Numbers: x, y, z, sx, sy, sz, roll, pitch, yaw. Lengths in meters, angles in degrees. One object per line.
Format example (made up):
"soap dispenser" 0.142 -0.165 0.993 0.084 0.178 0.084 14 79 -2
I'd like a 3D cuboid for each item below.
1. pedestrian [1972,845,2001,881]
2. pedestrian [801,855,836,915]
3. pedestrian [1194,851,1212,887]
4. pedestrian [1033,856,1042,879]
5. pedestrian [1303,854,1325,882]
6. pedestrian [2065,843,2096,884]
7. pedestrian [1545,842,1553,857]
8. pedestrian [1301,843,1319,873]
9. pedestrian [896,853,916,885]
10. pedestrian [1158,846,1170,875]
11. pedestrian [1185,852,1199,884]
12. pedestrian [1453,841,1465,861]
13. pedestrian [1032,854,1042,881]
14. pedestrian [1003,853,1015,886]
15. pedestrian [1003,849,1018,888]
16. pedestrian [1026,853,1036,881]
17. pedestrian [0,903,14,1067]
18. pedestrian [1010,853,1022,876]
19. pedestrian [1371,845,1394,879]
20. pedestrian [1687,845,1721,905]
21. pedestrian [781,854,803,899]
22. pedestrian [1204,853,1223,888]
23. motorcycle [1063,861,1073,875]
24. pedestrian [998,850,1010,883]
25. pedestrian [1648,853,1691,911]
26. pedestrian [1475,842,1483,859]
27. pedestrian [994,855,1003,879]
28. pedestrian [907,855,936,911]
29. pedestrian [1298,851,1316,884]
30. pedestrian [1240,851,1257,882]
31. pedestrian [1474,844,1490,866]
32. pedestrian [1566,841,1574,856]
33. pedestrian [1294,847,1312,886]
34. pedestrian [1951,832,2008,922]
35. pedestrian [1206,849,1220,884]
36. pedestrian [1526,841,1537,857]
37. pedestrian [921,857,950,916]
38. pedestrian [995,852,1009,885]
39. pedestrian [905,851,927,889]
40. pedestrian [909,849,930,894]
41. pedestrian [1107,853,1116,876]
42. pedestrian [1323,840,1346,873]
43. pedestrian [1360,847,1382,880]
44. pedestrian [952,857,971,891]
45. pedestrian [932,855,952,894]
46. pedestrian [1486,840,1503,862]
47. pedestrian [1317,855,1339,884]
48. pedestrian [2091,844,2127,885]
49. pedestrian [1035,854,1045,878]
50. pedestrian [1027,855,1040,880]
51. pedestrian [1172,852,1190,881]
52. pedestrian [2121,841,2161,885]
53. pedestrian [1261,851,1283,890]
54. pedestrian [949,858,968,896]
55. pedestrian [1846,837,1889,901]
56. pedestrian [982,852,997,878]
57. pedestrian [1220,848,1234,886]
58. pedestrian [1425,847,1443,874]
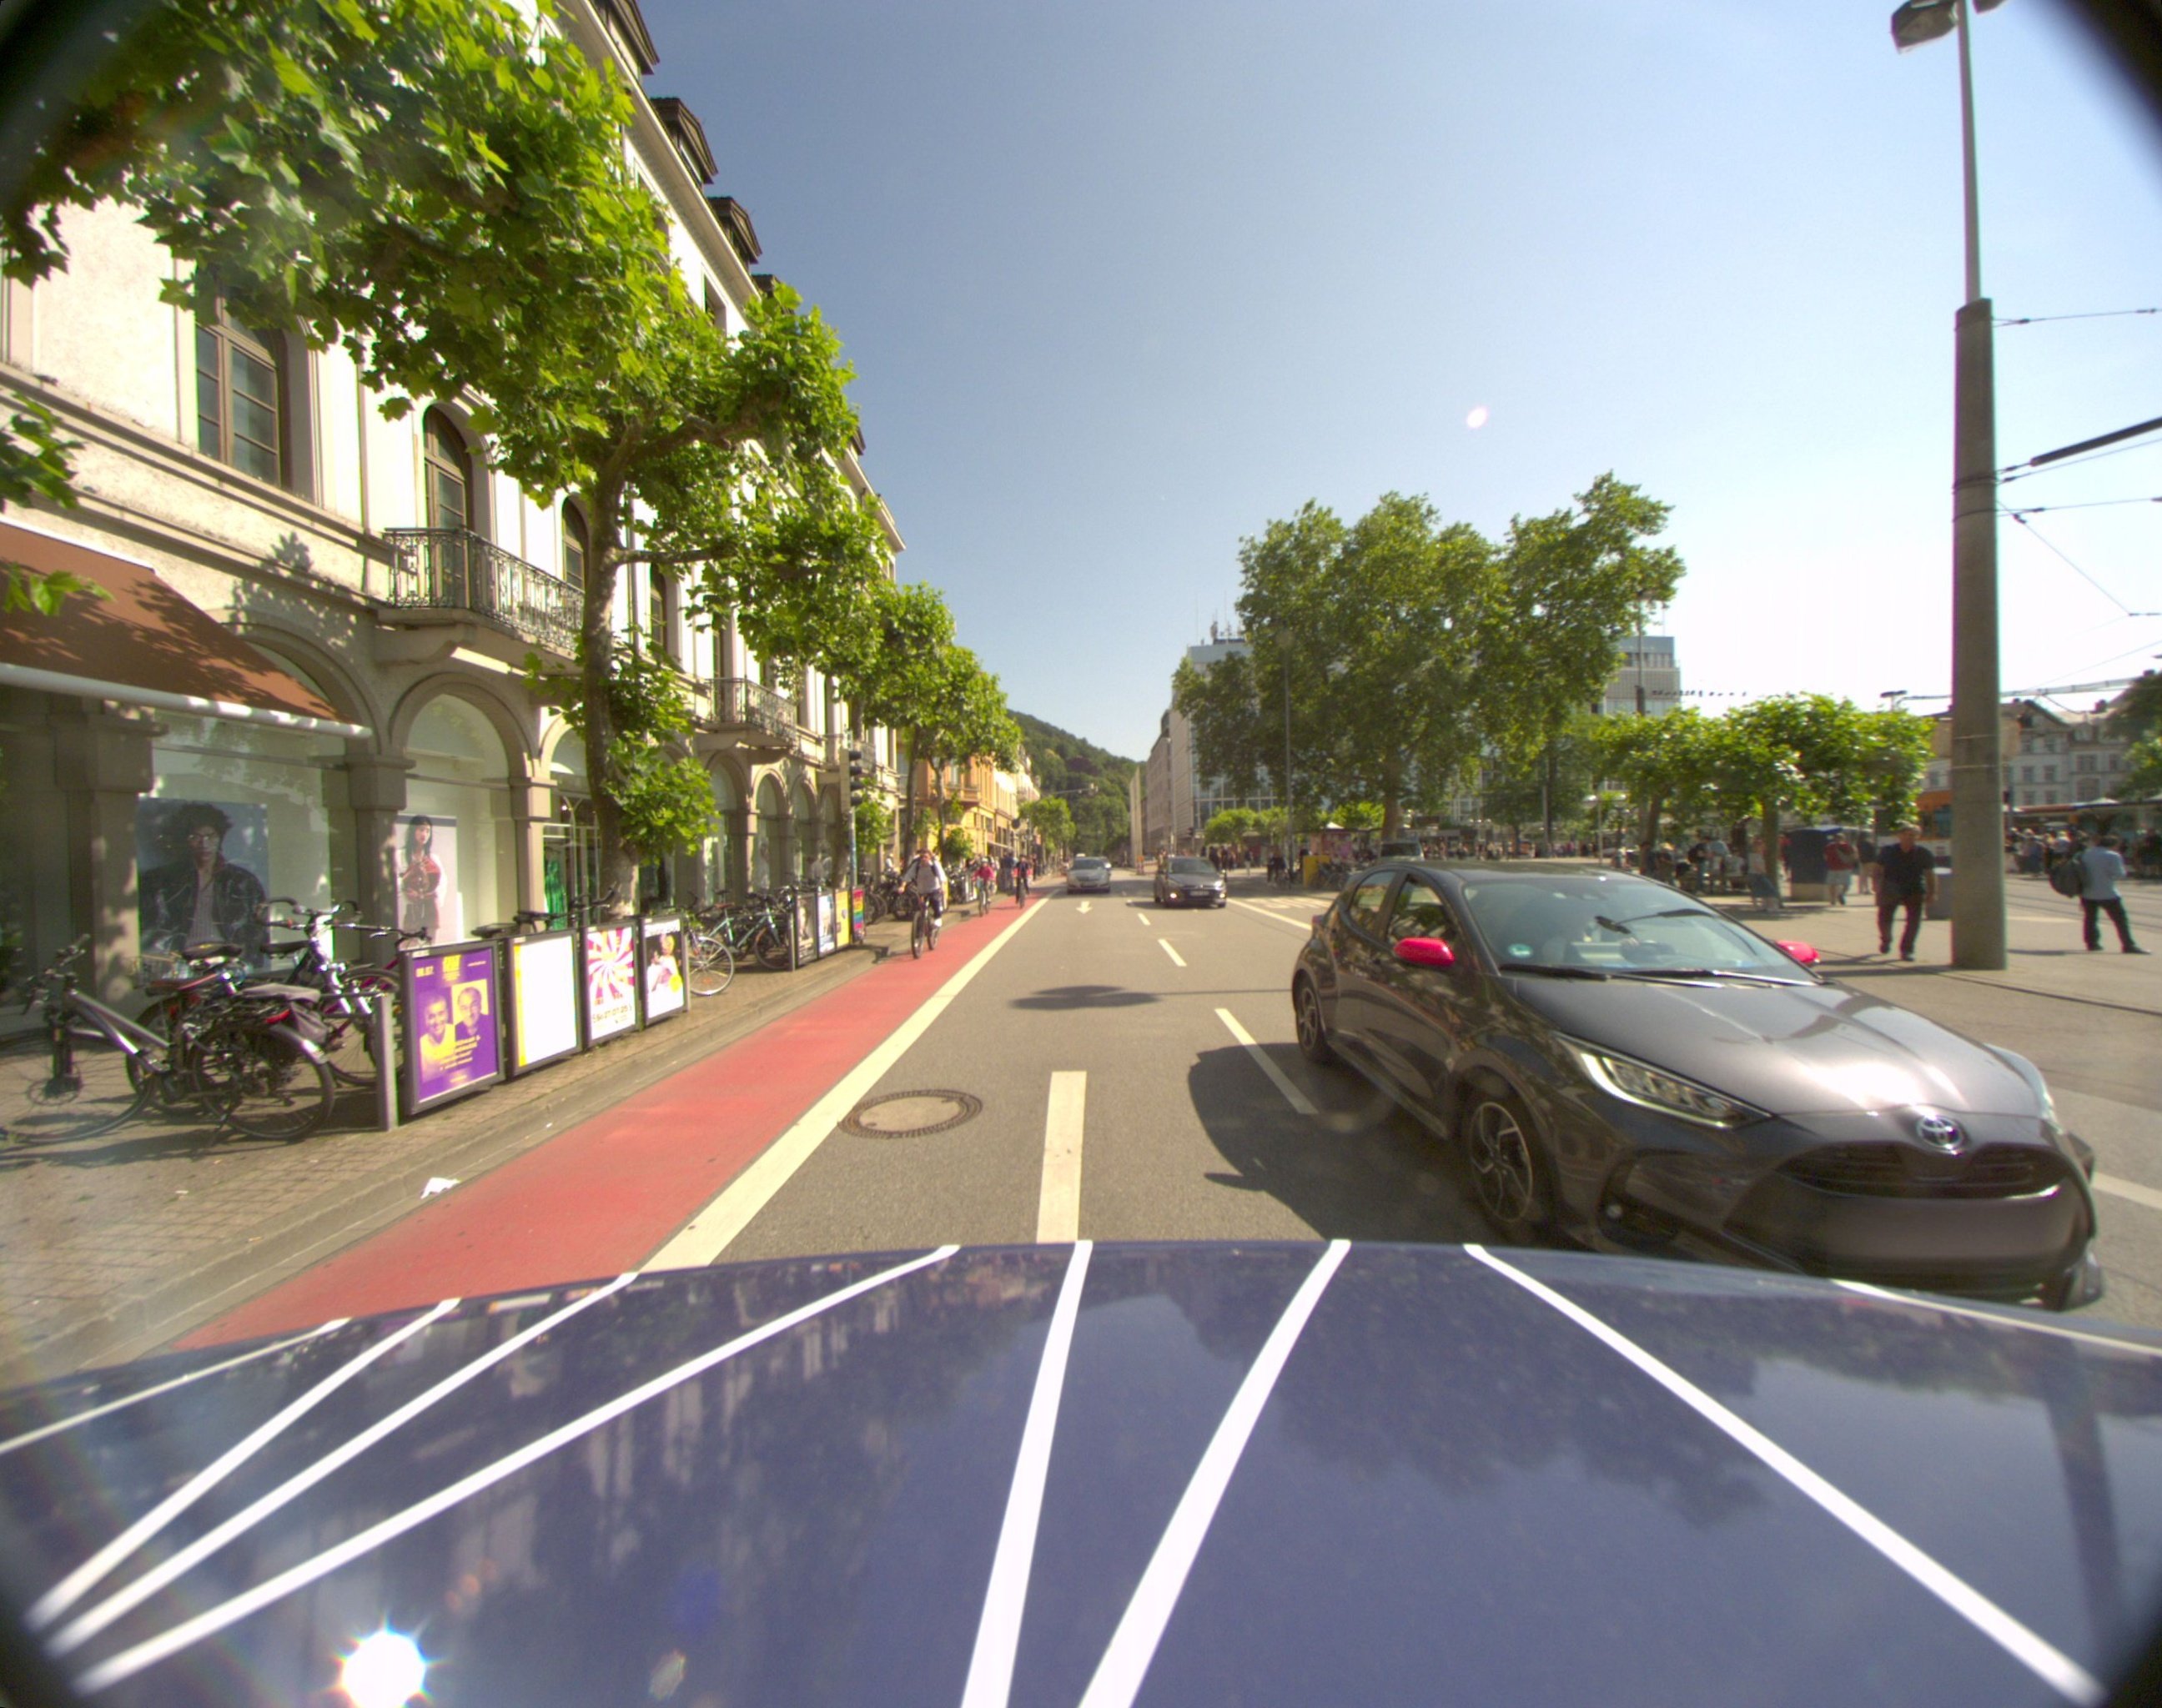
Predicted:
"pedestrian" 39.703 0.397 33.310 0.577 1.540 0.682 1 0 27
"pedestrian" -7.594 0.884 21.995 0.658 1.686 0.676 -3 1 2
"pedestrian" 6.199 0.777 38.604 0.537 1.773 0.745 -2 1 35
"pedestrian" -3.122 0.965 54.573 0.531 1.586 0.588 1 1 -11
"pedestrian" 12.060 0.719 39.364 0.752 1.399 0.782 -3 1 -10
"pedestrian" 38.771 0.364 29.470 0.681 1.540 0.577 2 0 -26
"pedestrian" 46.865 -0.452 76.110 0.554 1.464 0.759 -2 1 37
"pedestrian" 13.780 0.260 45.680 0.751 1.737 0.782 -3 1 -1
"pedestrian" -9.229 0.804 40.130 0.798 1.638 0.622 -3 1 1
"pedestrian" 5.717 0.447 52.195 0.639 1.903 0.733 -3 1 -1
"pedestrian" 6.129 0.765 42.131 0.612 1.737 0.752 -2 1 -1
"pedestrian" 32.824 -0.273 66.013 0.750 1.737 0.784 -2 1 39
"pedestrian" -3.021 0.909 51.975 0.578 1.863 0.680 1 0 -11
"pedestrian" -3.732 0.793 39.508 0.569 1.675 0.591 0 0 -3
"pedestrian" -3.388 0.715 36.699 0.578 1.835 0.717 -3 1 -2
"pedestrian" -3.100 0.820 46.986 0.578 1.719 0.718 1 -2 -7
"pedestrian" -9.050 1.063 5.837 0.653 1.298 0.868 -2 1 43
"pedestrian" -5.200 0.837 60.857 0.860 1.782 0.757 -1 0 -11
"pedestrian" 15.887 0.436 40.086 0.752 1.737 0.782 -3 1 -10
"pedestrian" 18.868 0.617 23.000 0.626 1.783 0.678 2 0 -41
"pedestrian" -10.087 0.772 26.544 0.504 1.524 0.538 -3 1 -6
"pedestrian" 6.399 0.801 36.639 0.630 1.639 0.753 -3 1 27
"motorcycle" -1.112 1.179 63.762 0.736 1.086 1.898 -3 0 1
"pedestrian" -4.100 0.656 40.342 0.578 1.774 0.699 0 0 -2
"pedestrian" 16.034 0.755 20.708 0.624 1.515 0.680 1 0 1
"pedestrian" 34.506 -0.282 65.852 0.464 1.464 0.410 -3 1 -2
"pedestrian" -5.752 0.903 52.954 0.578 1.650 0.621 -1 0 -11
"pedestrian" -4.521 0.813 21.566 0.606 1.529 0.667 -3 1 -1
"pedestrian" 12.308 0.755 41.366 0.750 1.737 0.784 -3 1 27
"pedestrian" 9.536 0.714 43.263 0.751 1.737 0.667 -3 1 -1
"pedestrian" 32.742 0.084 62.041 0.752 1.737 0.782 -3 1 -10
"pedestrian" 49.678 -0.563 77.237 0.554 1.464 0.759 -2 1 37
"pedestrian" 10.180 0.572 34.826 0.516 1.732 0.518 -3 1 -13
"pedestrian" 20.512 0.512 17.352 0.693 1.996 0.564 -1 1 -9
"pedestrian" 6.880 0.658 39.695 0.595 1.835 0.738 0 1 -1
"pedestrian" 43.008 -0.456 72.582 0.555 1.464 0.758 -3 1 0
"pedestrian" -4.811 1.069 25.154 0.702 1.891 0.776 -3 1 -1
"pedestrian" -4.028 0.743 38.893 0.578 1.675 0.622 -3 1 -2
"pedestrian" -7.798 0.735 35.886 0.621 1.747 1.186 -3 0 3
"pedestrian" -6.601 0.709 31.082 0.635 1.782 0.776 -3 1 -1
"pedestrian" 2.390 0.828 59.678 0.699 1.774 0.578 0 0 -5
"pedestrian" 12.589 0.122 37.753 0.752 1.587 0.782 -3 1 -10
"pedestrian" 15.641 0.491 41.030 0.752 1.737 0.782 -3 1 -10
"pedestrian" -5.681 0.946 36.106 0.517 1.574 0.584 -2 1 40
"pedestrian" -6.459 0.933 35.315 0.721 1.772 0.776 -3 1 -1
"pedestrian" 33.370 -0.212 61.323 0.752 1.737 0.782 -3 1 -10
"pedestrian" 12.504 0.800 38.504 0.752 1.416 0.673 -3 1 -10
"pedestrian" 38.876 0.403 28.734 0.579 1.540 0.679 1 0 -23
"pedestrian" -3.055 0.872 56.999 0.651 1.770 0.621 0 2 -14
"pedestrian" -2.904 0.818 46.115 0.673 1.488 0.637 -1 1 -14
"pedestrian" 6.124 0.745 46.607 0.876 1.737 0.733 -3 1 -1
"pedestrian" 37.064 0.315 26.565 0.579 1.540 0.679 1 0 -23
"pedestrian" 8.479 0.748 33.753 0.643 1.681 0.642 -3 1 -13
"pedestrian" -5.709 1.056 35.331 0.676 1.730 0.754 -3 1 -1
"pedestrian" 22.567 0.422 21.812 0.577 1.805 0.605 1 0 0
"pedestrian" -6.543 0.783 54.207 0.733 1.794 0.750 -1 0 32
"pedestrian" 7.123 0.646 37.107 0.517 1.825 0.716 -3 1 8
"pedestrian" 23.216 0.438 49.981 0.752 1.737 0.782 -3 1 -10
